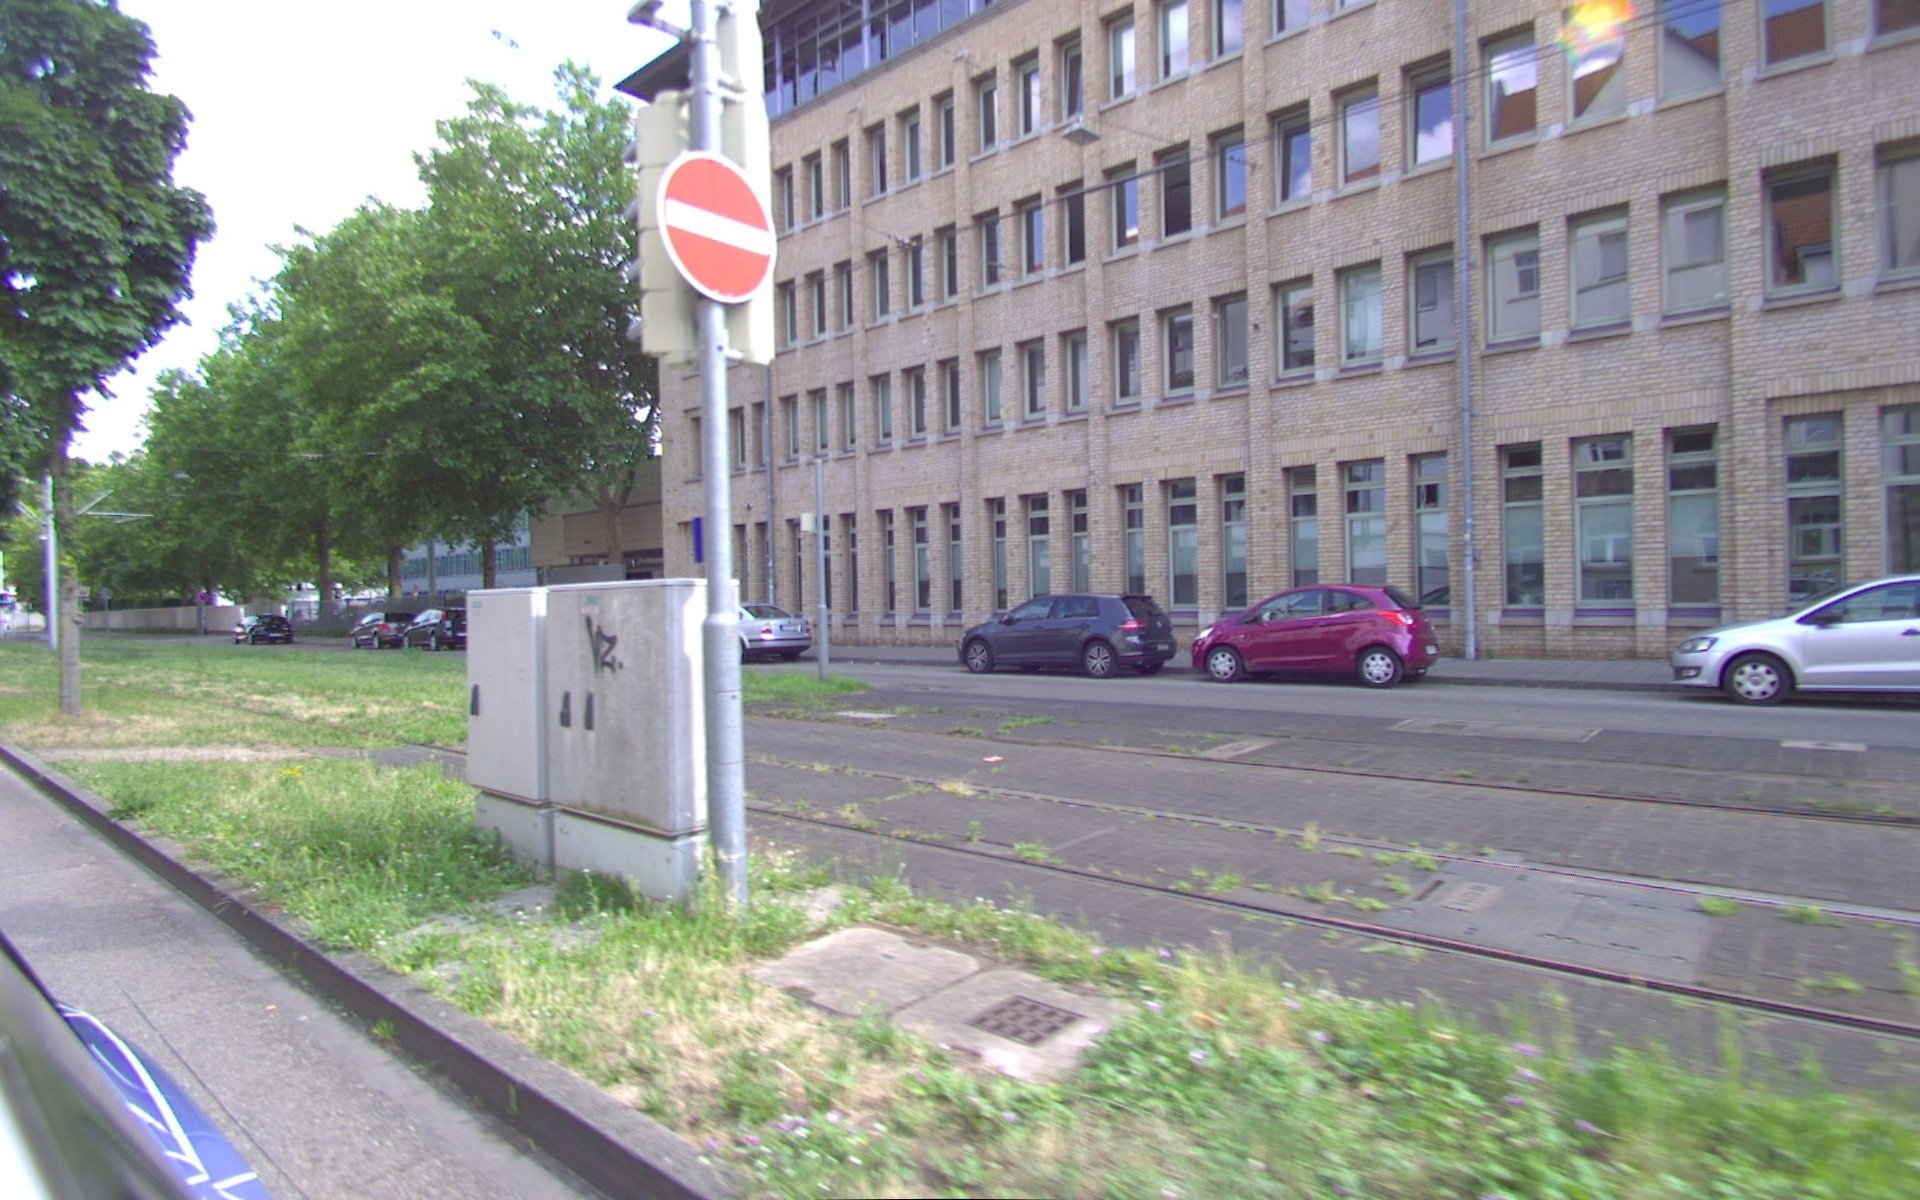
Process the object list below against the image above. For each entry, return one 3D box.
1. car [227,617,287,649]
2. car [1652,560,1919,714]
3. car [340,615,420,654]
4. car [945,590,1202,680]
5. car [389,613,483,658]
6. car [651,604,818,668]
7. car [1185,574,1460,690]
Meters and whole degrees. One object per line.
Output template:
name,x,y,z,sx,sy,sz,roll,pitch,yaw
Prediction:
car,-34.824,1.633,50.092,4.000,1.475,1.580,-2,0,43
car,10.116,0.357,10.868,4.209,1.542,1.831,-2,0,42
car,-22.835,1.342,39.790,3.900,1.436,1.538,-2,0,41
car,1.930,0.587,18.065,4.238,1.406,1.912,-2,0,42
car,-18.740,1.235,36.148,4.001,1.464,1.783,-2,0,44
car,-5.542,0.843,24.551,4.484,1.406,1.697,-2,0,42
car,5.361,0.450,15.201,3.549,1.542,1.566,-2,0,42
